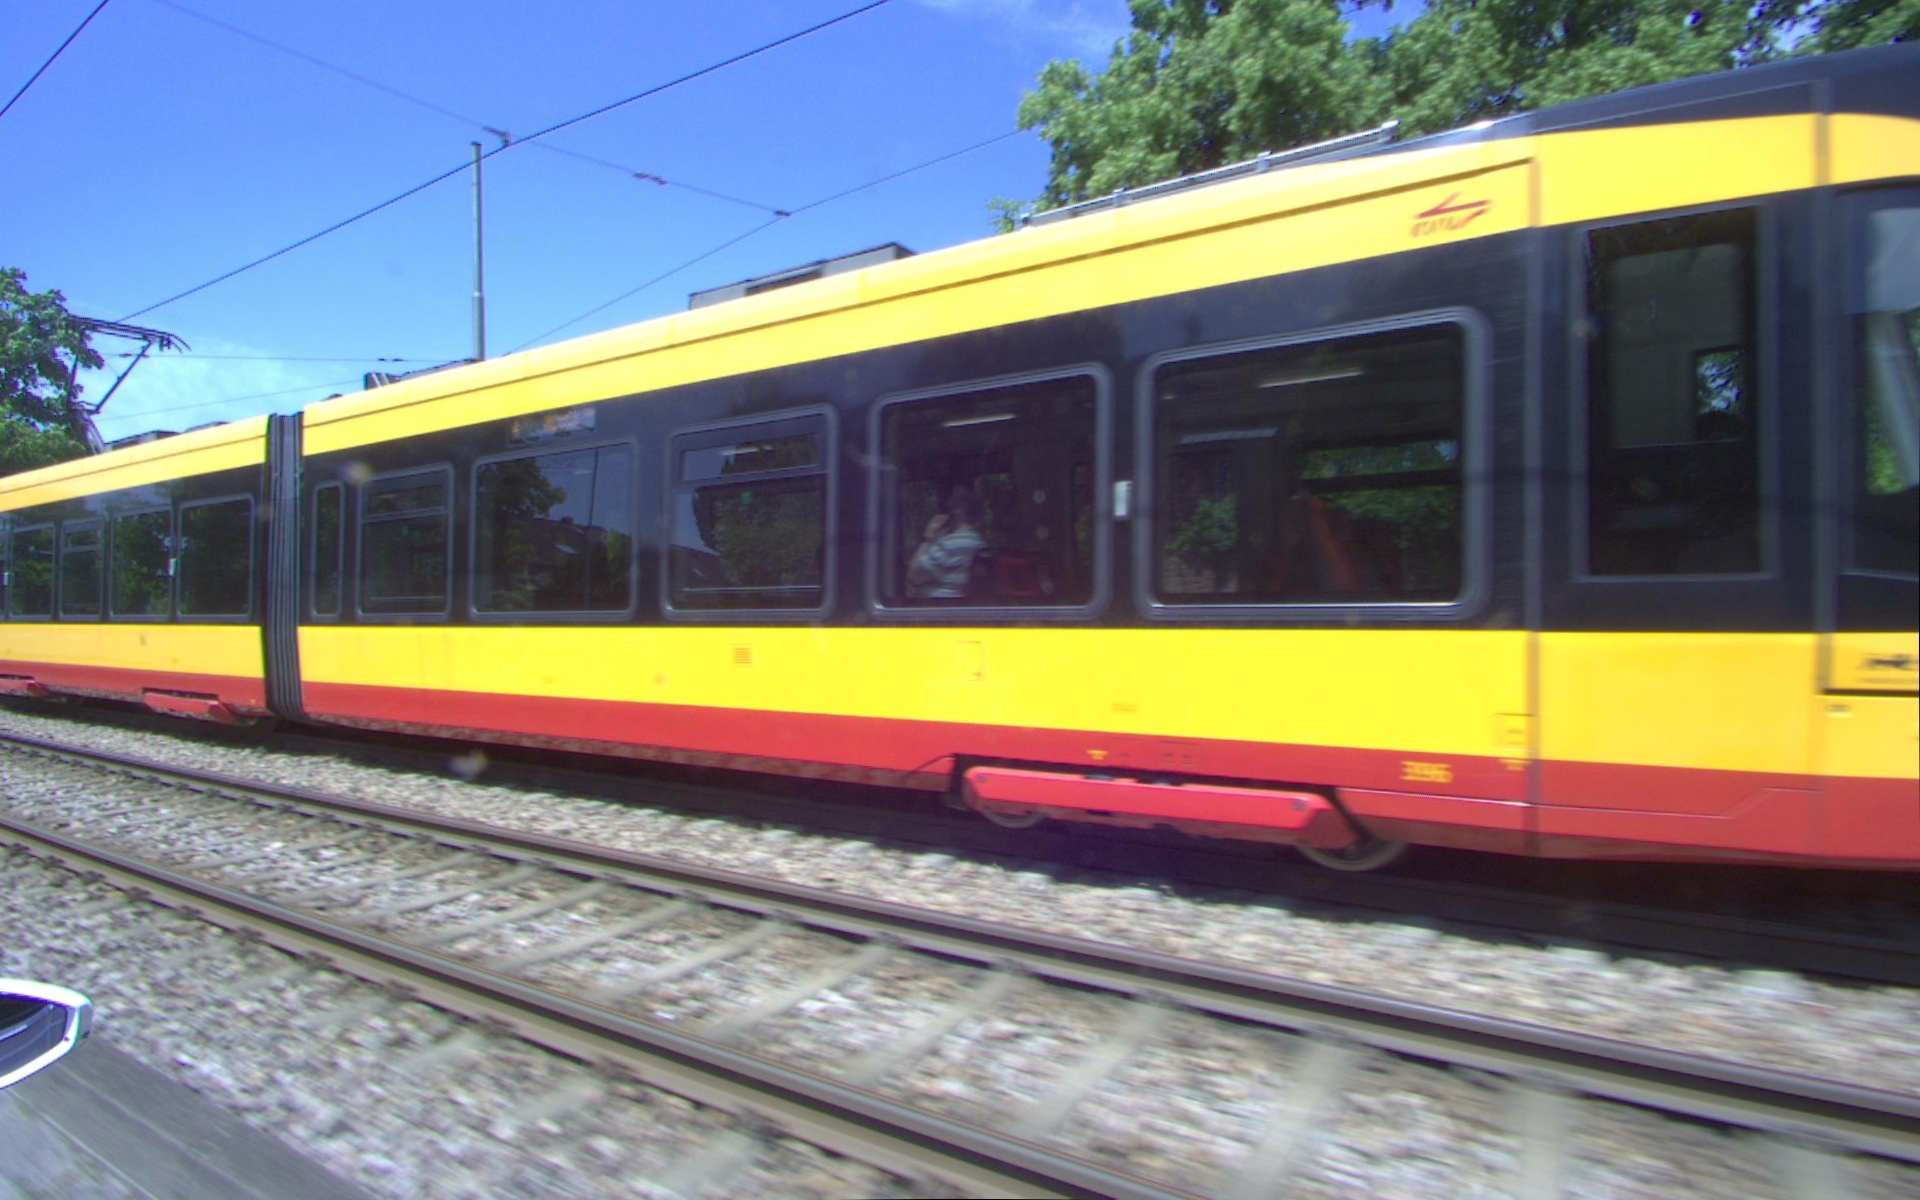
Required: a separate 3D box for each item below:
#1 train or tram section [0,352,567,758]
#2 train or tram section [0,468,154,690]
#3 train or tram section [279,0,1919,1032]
[{"bbox_3d":[-10.948,-0.391,14.345,12.906,3.848,3.021,0,1,33],"label":"train or tram section"},{"bbox_3d":[-21.530,-0.322,21.367,12.581,3.848,3.021,0,1,33],"label":"train or tram section"},{"bbox_3d":[-0.258,-0.510,7.223,12.906,3.848,3.021,0,1,34],"label":"train or tram section"}]
